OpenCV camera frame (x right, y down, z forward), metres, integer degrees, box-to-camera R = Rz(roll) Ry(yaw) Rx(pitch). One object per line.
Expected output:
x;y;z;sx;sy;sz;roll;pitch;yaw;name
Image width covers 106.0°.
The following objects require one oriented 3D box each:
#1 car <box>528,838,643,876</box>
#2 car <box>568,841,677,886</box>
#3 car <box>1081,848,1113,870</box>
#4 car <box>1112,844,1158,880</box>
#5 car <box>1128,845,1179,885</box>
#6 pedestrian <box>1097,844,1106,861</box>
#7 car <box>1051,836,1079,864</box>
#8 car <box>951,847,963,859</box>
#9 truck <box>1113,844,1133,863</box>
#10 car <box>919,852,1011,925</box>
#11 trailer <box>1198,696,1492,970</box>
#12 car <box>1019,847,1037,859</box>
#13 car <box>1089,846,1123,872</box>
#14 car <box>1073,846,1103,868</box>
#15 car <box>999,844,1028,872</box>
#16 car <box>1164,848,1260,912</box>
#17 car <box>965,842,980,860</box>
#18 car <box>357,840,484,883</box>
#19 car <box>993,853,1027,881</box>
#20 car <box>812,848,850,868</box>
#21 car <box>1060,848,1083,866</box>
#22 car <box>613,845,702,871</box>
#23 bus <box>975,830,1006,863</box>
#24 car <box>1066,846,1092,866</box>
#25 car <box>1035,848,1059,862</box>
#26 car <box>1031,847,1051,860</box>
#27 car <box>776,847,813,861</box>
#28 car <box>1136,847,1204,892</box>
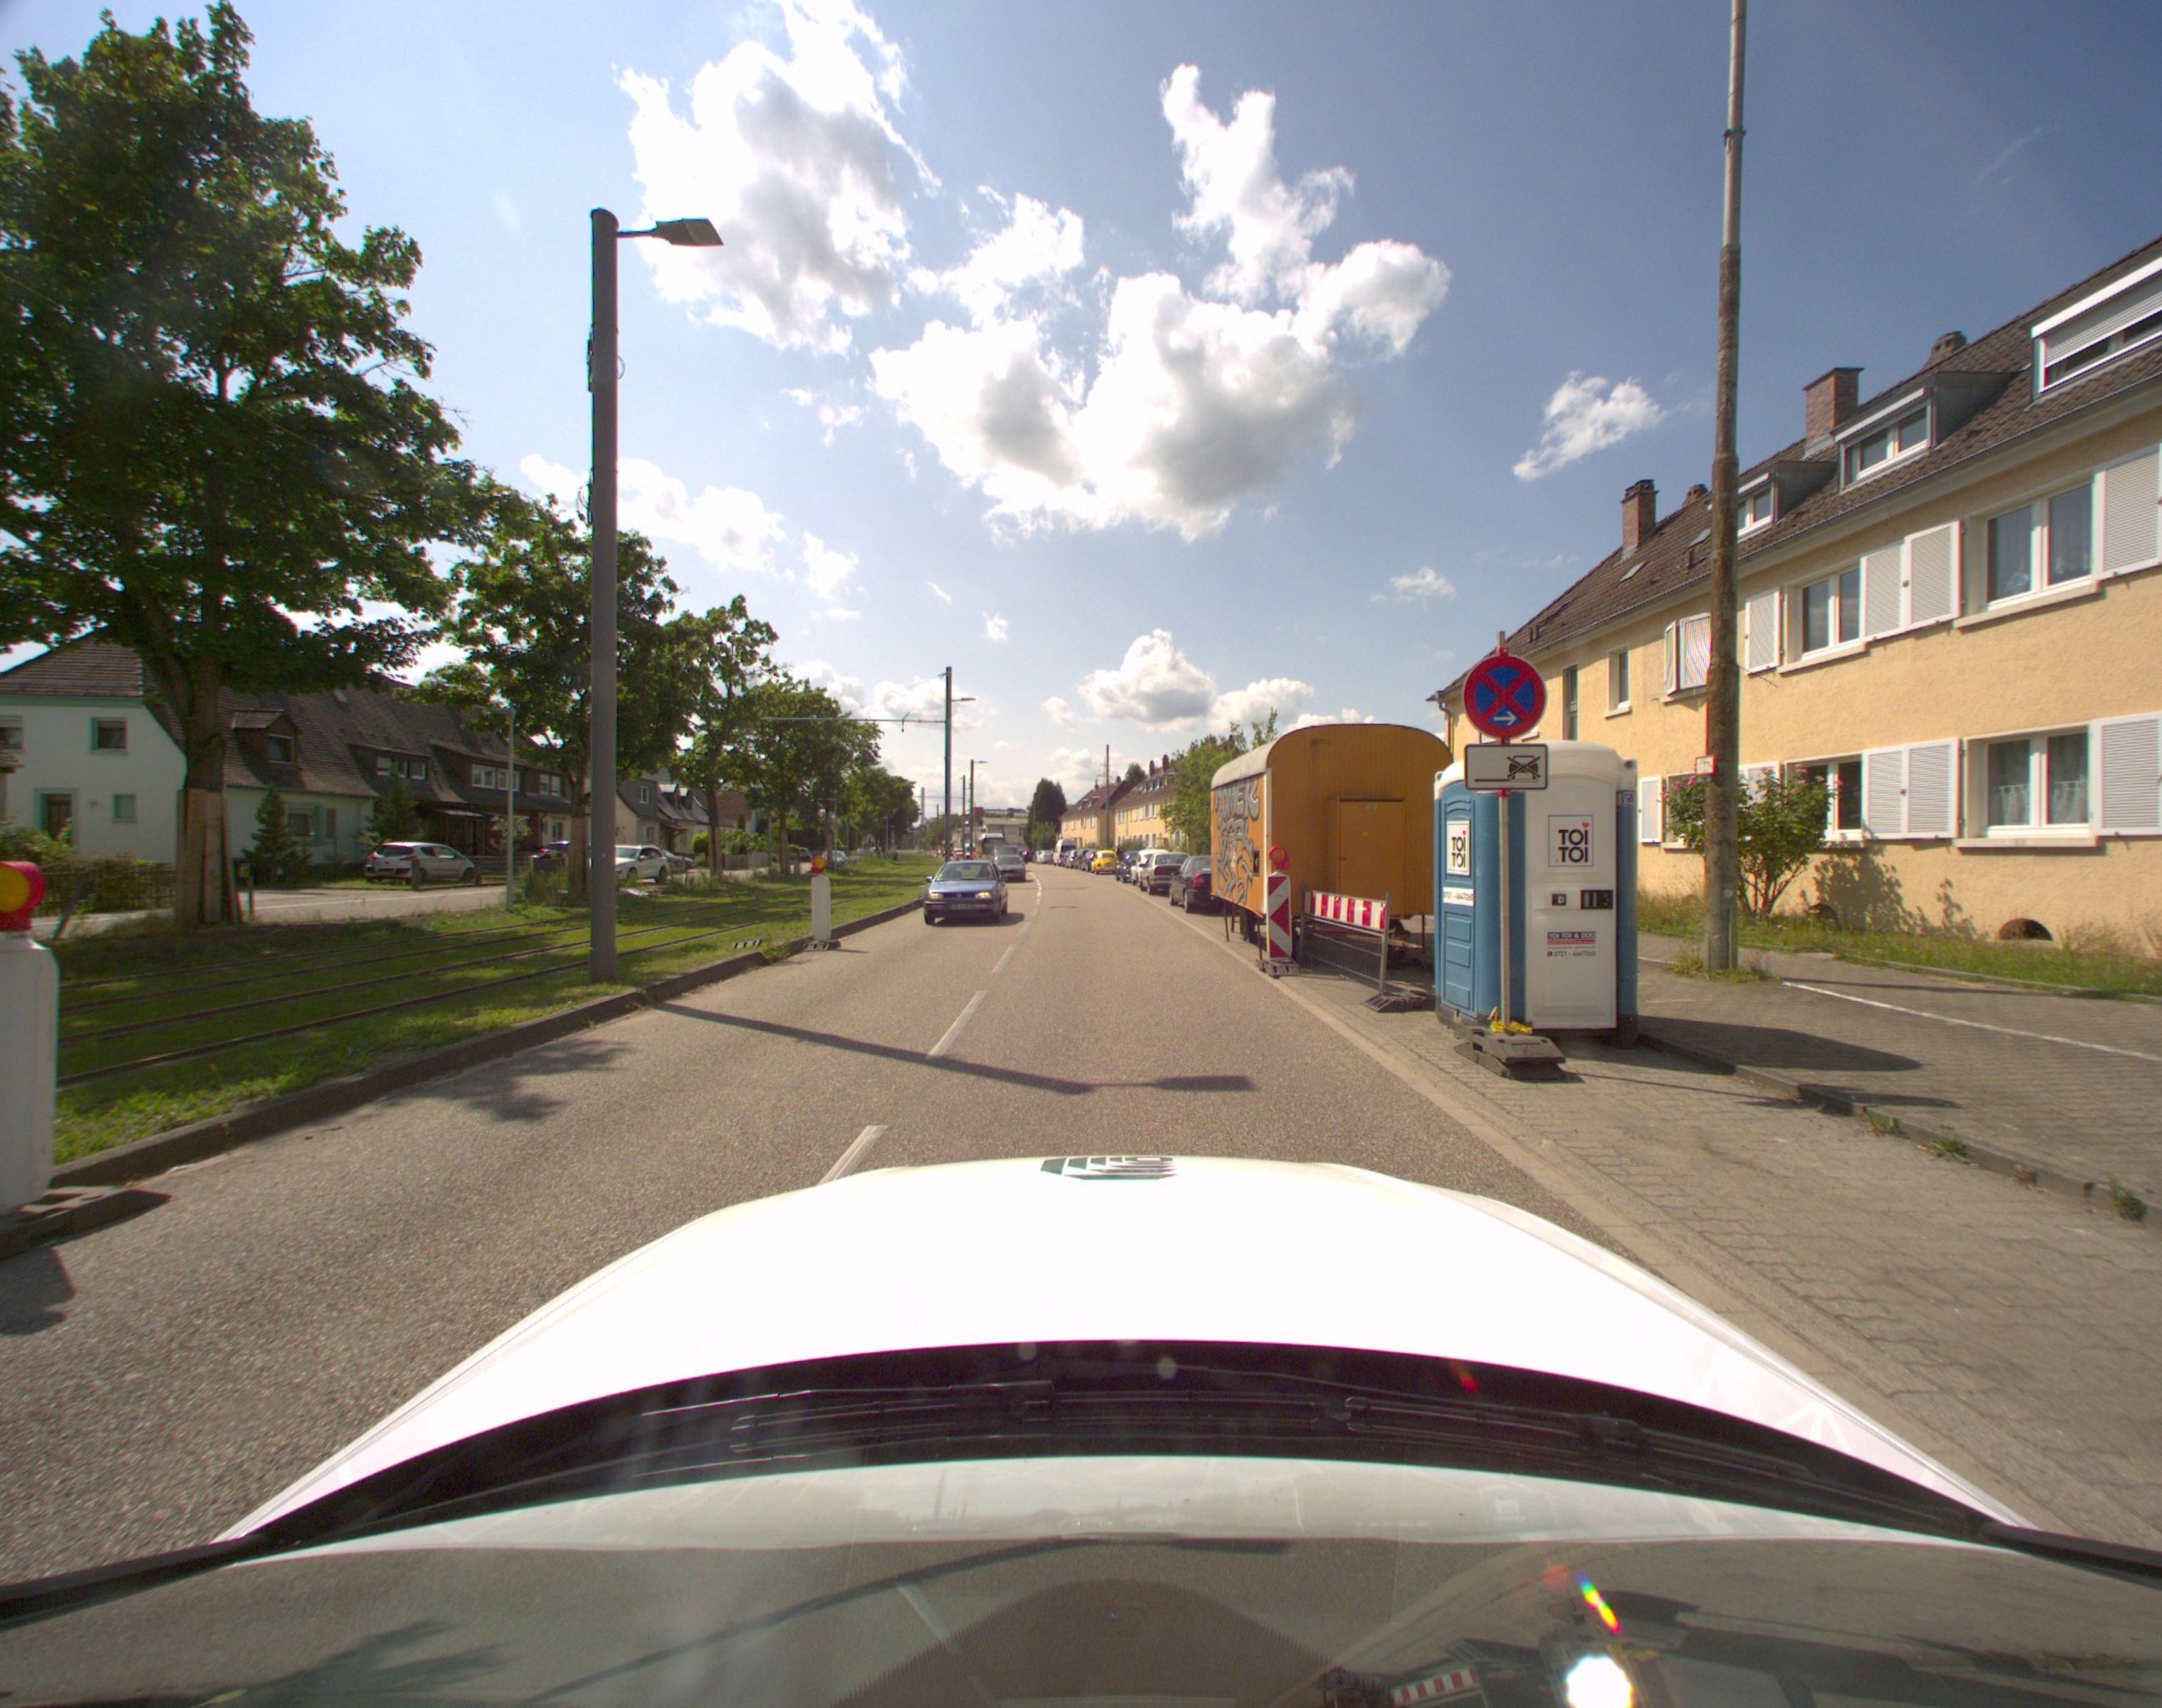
-25.080;0.155;41.382;4.466;1.836;2.060;0;0;-8;car
-19.434;0.378;34.843;1.876;1.768;5.080;0;0;-1;car
1.043;0.306;56.459;1.635;1.482;4.114;0;0;-8;car
2.525;0.358;38.772;1.546;1.641;4.239;0;0;-5;car
2.929;0.410;33.652;1.573;1.513;4.456;0;0;-2;car
2.021;-0.129;80.923;0.853;1.652;0.635;1;0;-7;pedestrian
-1.514;-0.354;75.848;1.929;2.480;5.501;-1;0;-9;car
-18.310;-0.210;120.445;1.734;1.773;4.294;0;0;-10;car
3.797;-0.021;74.214;1.345;1.688;2.434;0;0;-8;truck
-2.624;0.732;19.230;1.661;1.449;3.956;-2;0;-2;car
3.499;-0.261;12.172;2.682;3.226;5.079;0;0;-1;trailer
-6.692;-0.120;102.390;1.765;1.417;3.984;-2;1;-12;car
1.520;0.296;51.252;1.634;1.482;3.924;-3;1;-6;car
0.486;0.231;61.840;1.636;1.602;3.919;0;0;-10;car
-5.212;0.271;61.988;1.954;1.966;5.279;-1;0;-7;car
3.213;0.584;20.761;1.573;1.449;4.450;0;0;-2;car
-15.551;-0.437;116.508;2.102;2.443;5.555;0;0;-8;car
-24.582;0.254;30.501;1.726;1.517;4.036;0;0;-6;car
-3.768;0.640;43.030;1.722;1.389;4.114;0;0;-6;car
-18.146;0.292;59.211;1.818;1.406;4.801;0;0;-7;car
-0.850;0.233;70.537;1.535;1.445;3.727;0;0;-8;car
-25.971;0.231;50.091;4.466;1.523;1.921;0;0;-8;car
-10.436;-0.836;92.719;2.636;3.412;12.206;-1;1;-10;bus
-0.194;0.142;65.749;1.635;1.602;4.019;0;0;-8;car
-3.720;0.128;88.402;1.800;1.458;4.744;-2;0;-13;car
-4.604;-0.106;93.813;1.622;1.417;3.984;-2;1;-12;car
-33.792;-0.013;96.147;3.994;1.571;1.785;0;0;-15;car
3.010;0.477;28.557;1.702;1.449;4.831;0;0;-2;car
